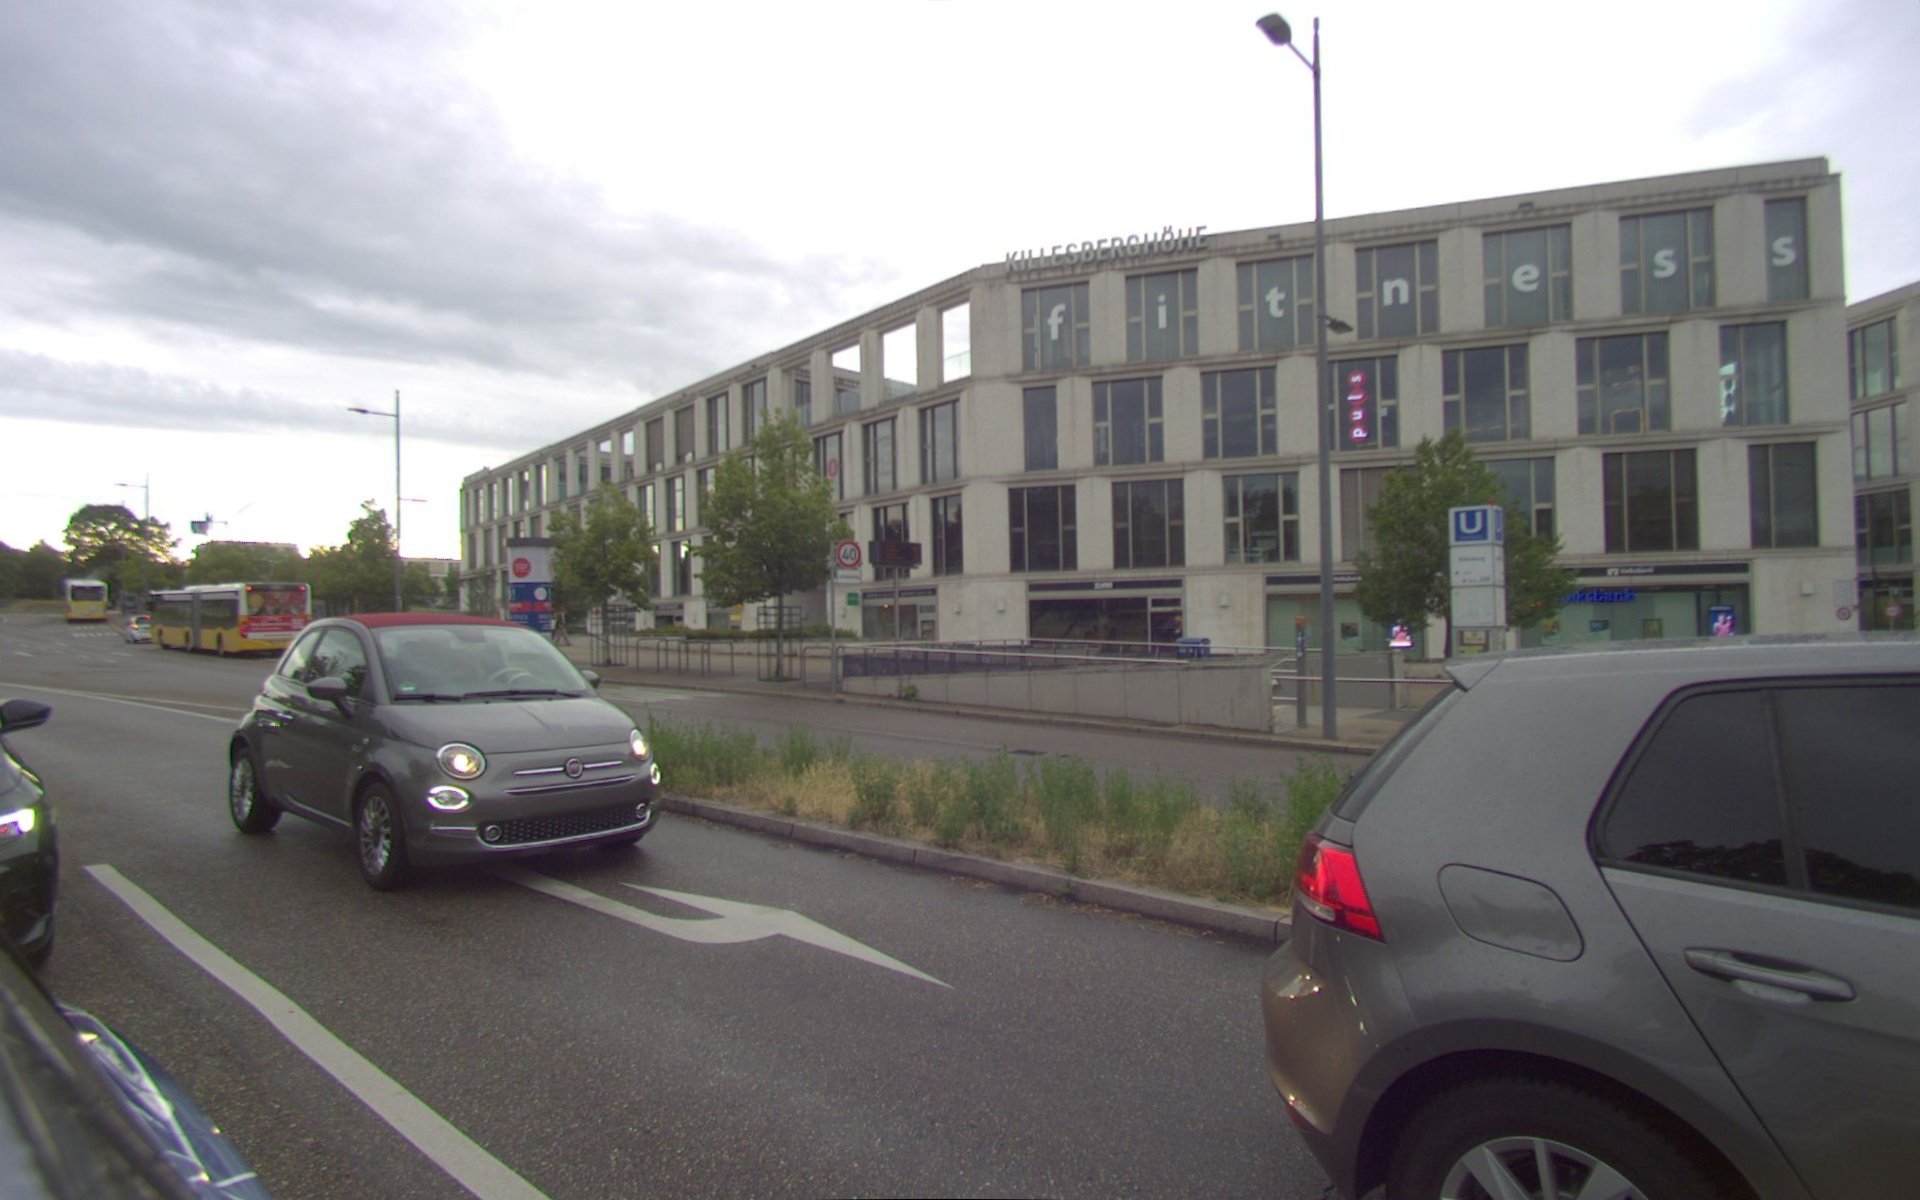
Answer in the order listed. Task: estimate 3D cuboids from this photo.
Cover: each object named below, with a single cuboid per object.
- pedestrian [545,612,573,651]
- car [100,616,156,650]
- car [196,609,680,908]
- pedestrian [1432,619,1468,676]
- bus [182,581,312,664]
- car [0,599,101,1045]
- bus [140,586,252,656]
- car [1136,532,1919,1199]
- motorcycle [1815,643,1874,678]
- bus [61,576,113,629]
[{"bbox_3d":[-17.209,1.344,43.417,0.967,1.593,0.869,-1,0,-12],"label":"pedestrian"},{"bbox_3d":[-47.228,1.832,57.448,3.998,1.800,1.843,-1,0,41],"label":"car"},{"bbox_3d":[-3.614,0.826,6.796,3.502,1.492,1.611,-1,-1,39],"label":"car"},{"bbox_3d":[14.336,1.378,29.595,0.911,1.617,0.757,-1,-1,29],"label":"pedestrian"},{"bbox_3d":[-31.138,0.917,43.988,9.206,3.236,2.723,-1,0,43],"label":"bus"},{"bbox_3d":[-5.423,0.767,4.420,4.766,1.476,1.877,-1,0,41],"label":"car"},{"bbox_3d":[-38.164,0.986,50.396,9.911,3.205,2.658,-1,0,42],"label":"bus"},{"bbox_3d":[2.606,0.653,1.416,4.374,1.492,1.797,-1,-2,41],"label":"car"},{"bbox_3d":[20.408,1.382,23.371,0.517,0.746,1.098,-1,0,9],"label":"motorcycle"},{"bbox_3d":[-76.398,0.261,88.823,2.717,4.185,19.383,-1,0,-39],"label":"bus"}]
